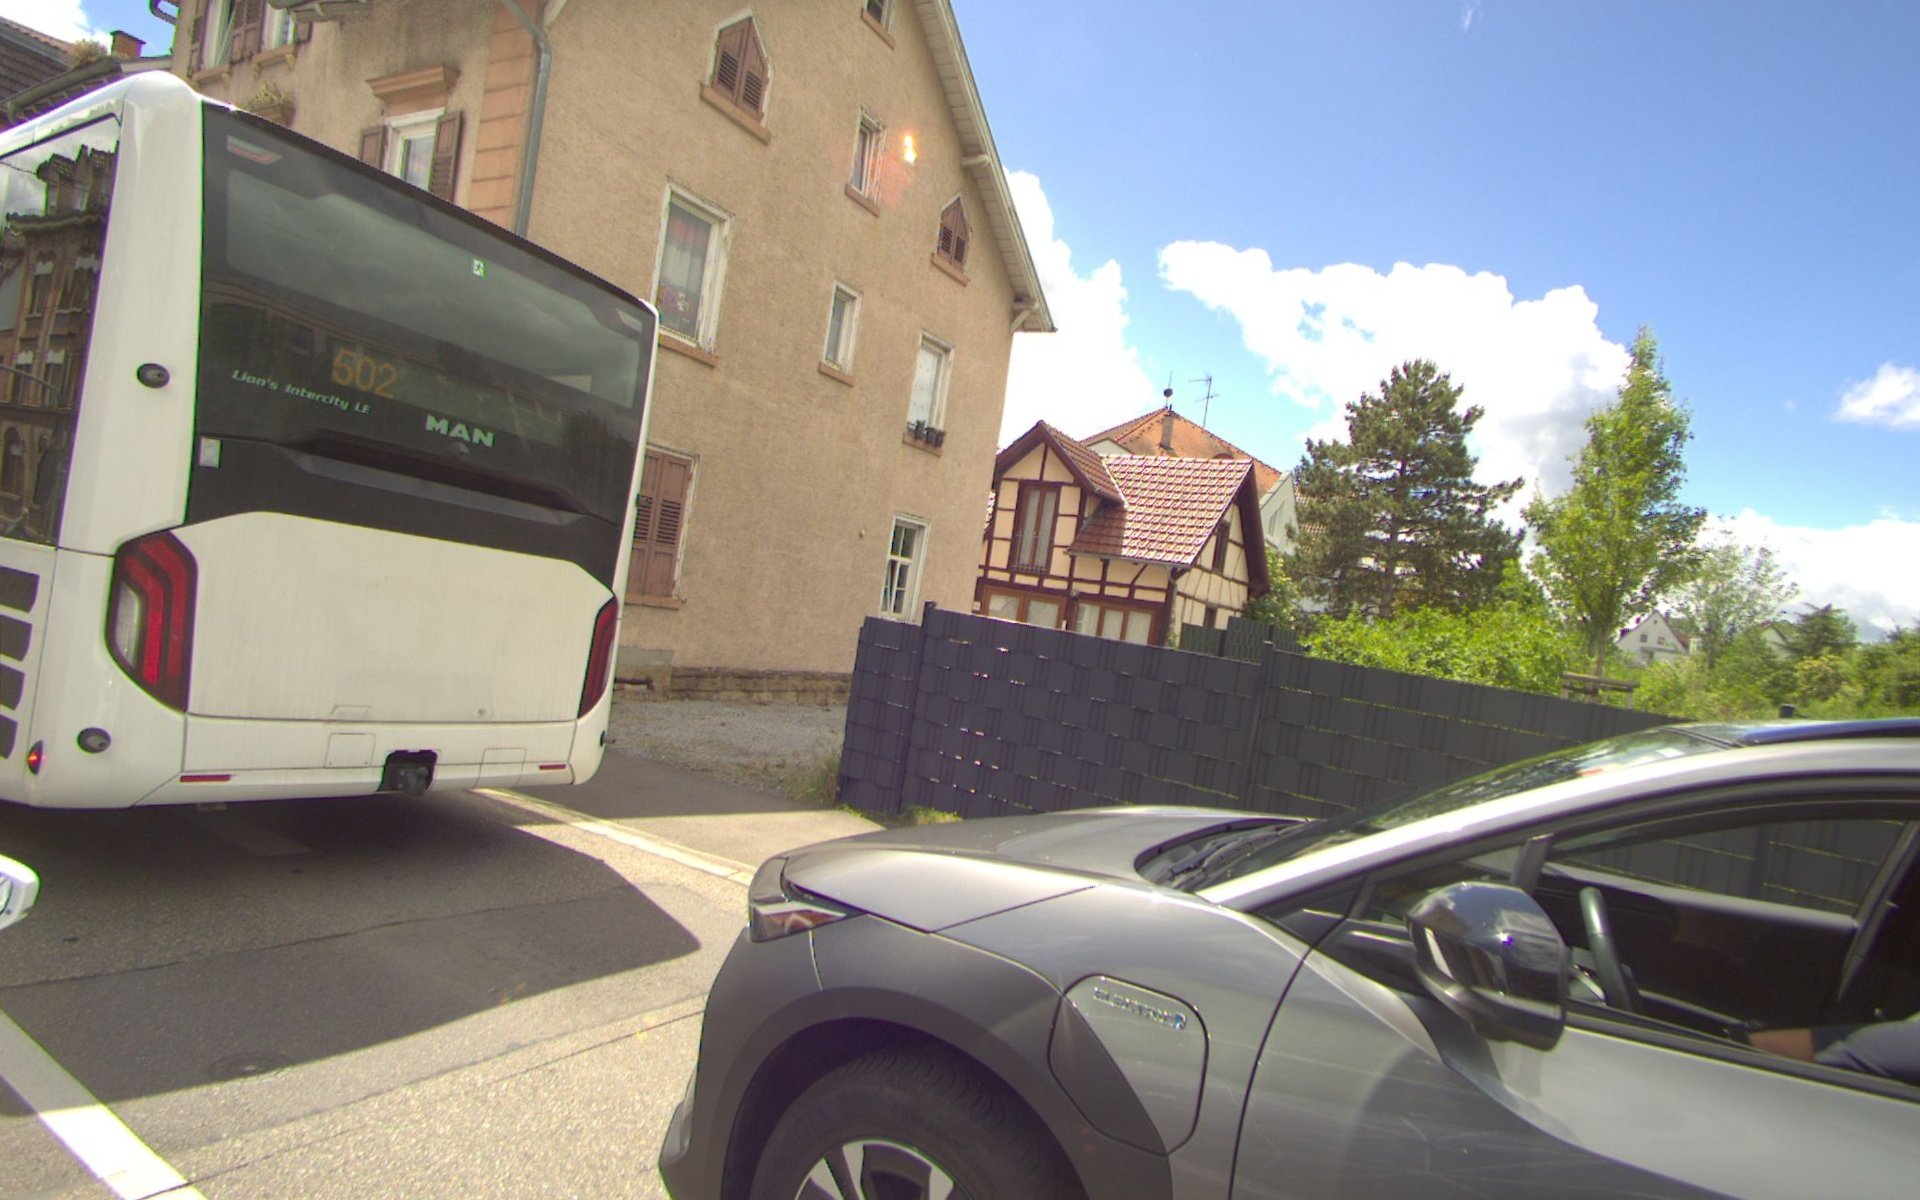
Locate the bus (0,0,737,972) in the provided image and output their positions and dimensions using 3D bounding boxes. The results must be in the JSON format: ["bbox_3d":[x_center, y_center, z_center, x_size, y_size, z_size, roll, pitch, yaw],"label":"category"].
[{"bbox_3d":[-7.432,-0.951,7.777,12.281,3.551,2.910,6,-2,32],"label":"bus"}]

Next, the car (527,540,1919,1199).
[{"bbox_3d":[1.562,1.000,1.835,4.504,1.648,1.997,7,-1,31],"label":"car"}]
